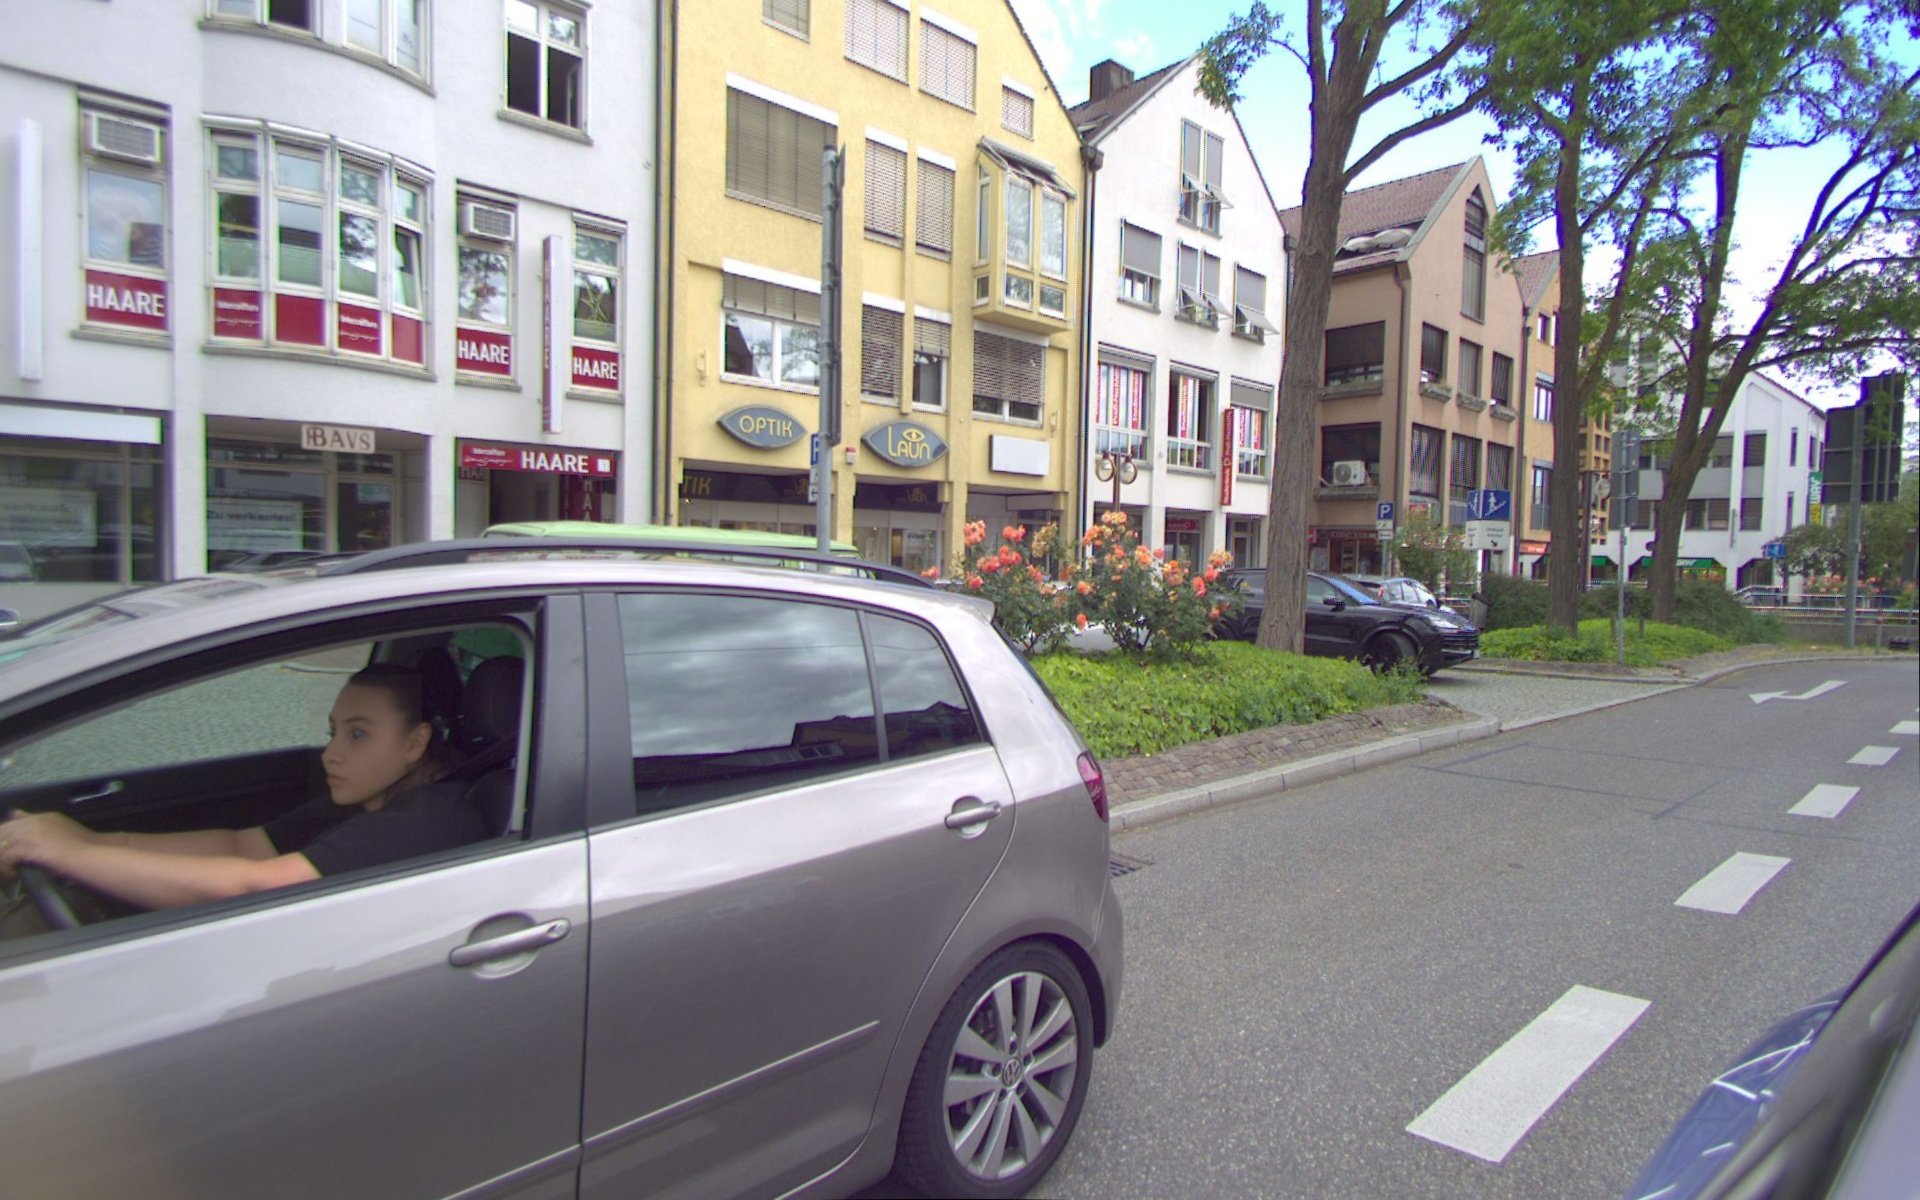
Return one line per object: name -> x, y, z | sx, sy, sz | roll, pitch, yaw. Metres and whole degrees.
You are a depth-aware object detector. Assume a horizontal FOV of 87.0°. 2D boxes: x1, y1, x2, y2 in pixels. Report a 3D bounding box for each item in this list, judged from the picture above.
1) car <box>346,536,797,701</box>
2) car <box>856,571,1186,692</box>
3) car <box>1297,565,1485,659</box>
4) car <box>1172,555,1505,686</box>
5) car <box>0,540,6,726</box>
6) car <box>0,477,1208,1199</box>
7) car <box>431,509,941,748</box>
car -> -4.474, 0.090, 12.175 | 4.677, 1.566, 1.996 | -2, 5, -45
car -> 0.990, 0.302, 13.975 | 4.675, 1.325, 1.841 | -1, 5, -44
car -> 9.203, 0.157, 21.407 | 4.677, 1.674, 1.995 | -1, 5, -45
car -> 6.144, 0.226, 16.722 | 4.730, 1.699, 1.973 | 5, 3, 38
car -> -7.336, 0.377, 6.402 | 1.710, 1.471, 4.648 | 0, 4, -41
car -> -1.339, 0.612, 2.248 | 3.932, 1.549, 1.799 | 0, 1, -42
car -> -2.602, 0.120, 10.402 | 4.676, 1.898, 1.996 | -1, 5, -44
